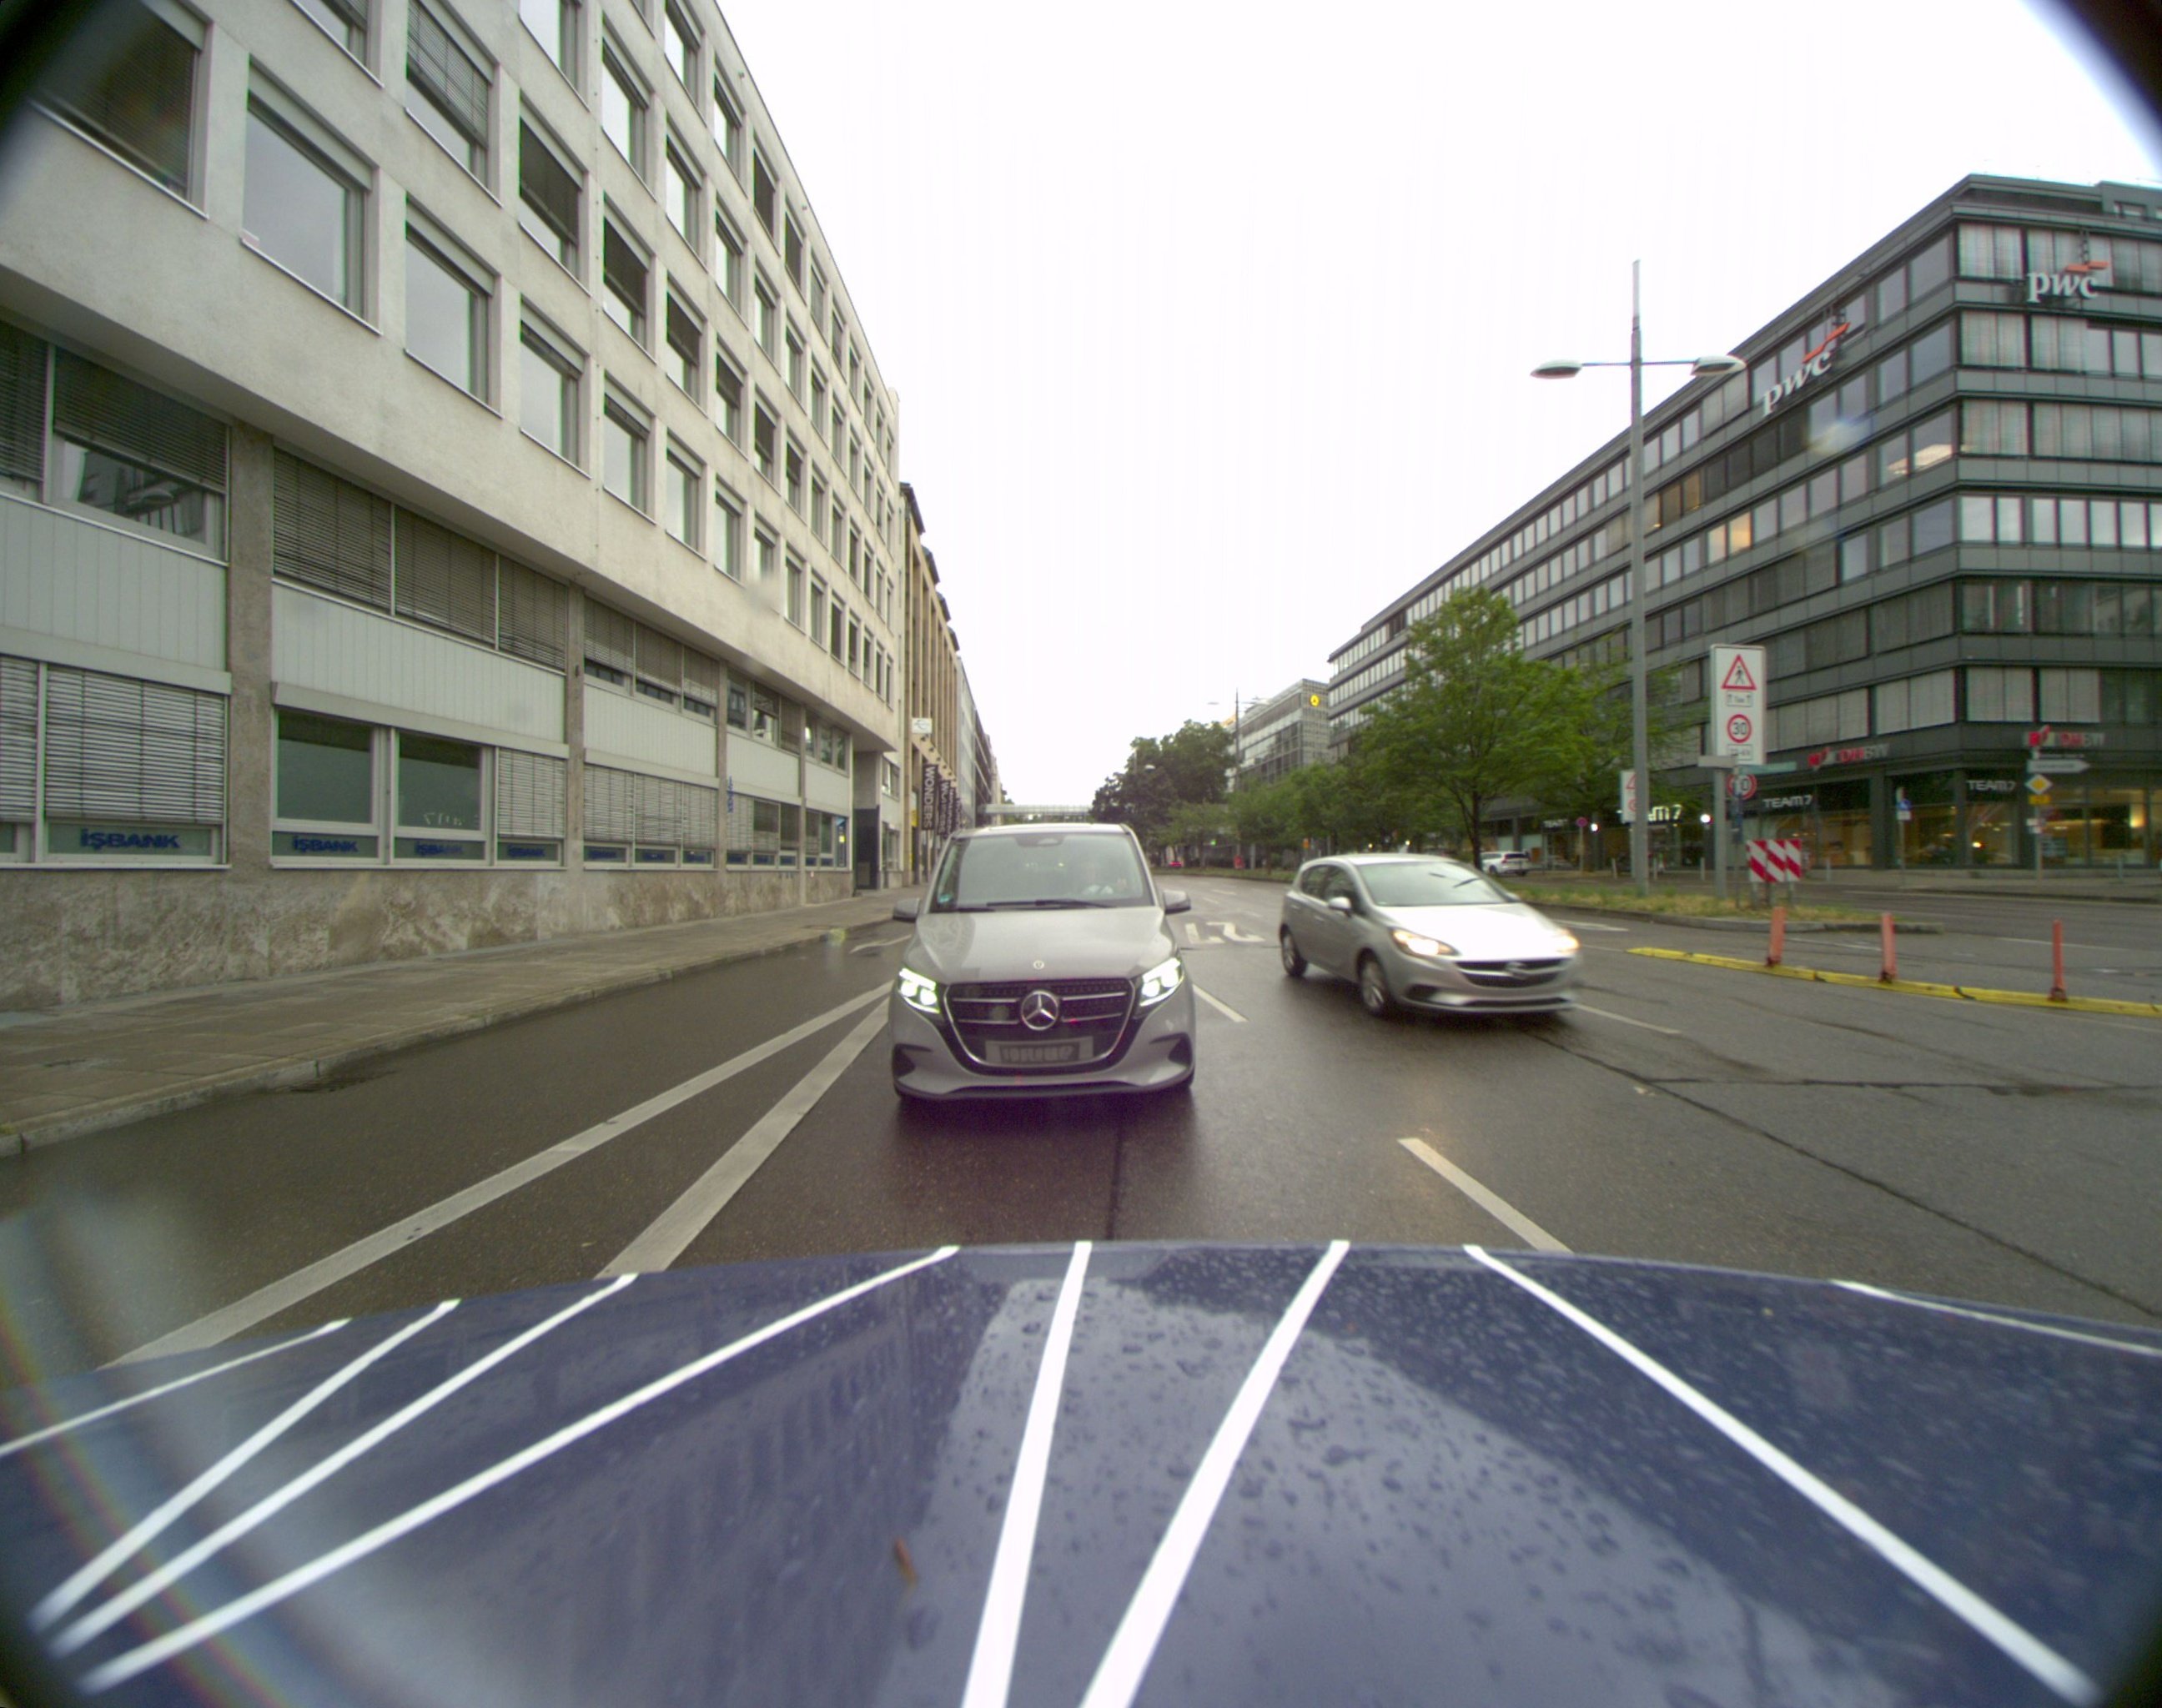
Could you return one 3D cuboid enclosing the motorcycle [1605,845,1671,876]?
[{"bbox_3d":[26.978,0.317,36.850,0.861,1.386,2.364,-5,2,-30],"label":"motorcycle"}]

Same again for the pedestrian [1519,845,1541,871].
[{"bbox_3d":[28.747,0.238,48.700,0.786,1.628,0.965,-1,0,-4],"label":"pedestrian"}]

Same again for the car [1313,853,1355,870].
[{"bbox_3d":[22.295,0.654,67.011,1.814,1.436,4.307,-2,0,-7],"label":"car"}]

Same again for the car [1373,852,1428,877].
[{"bbox_3d":[20.554,0.653,48.993,1.788,1.564,3.690,-1,0,-3],"label":"car"}]

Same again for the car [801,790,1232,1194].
[{"bbox_3d":[-0.408,0.712,6.434,2.163,2.014,5.040,-1,0,-2],"label":"car"}]

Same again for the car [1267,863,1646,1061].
[{"bbox_3d":[3.366,0.847,7.764,1.853,1.434,3.869,-1,0,-2],"label":"car"}]

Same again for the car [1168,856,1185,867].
[{"bbox_3d":[14.123,1.065,112.555,1.999,1.535,4.482,-1,0,-1],"label":"car"}]

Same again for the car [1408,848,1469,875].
[{"bbox_3d":[23.683,0.458,50.529,1.813,1.651,4.309,-2,0,-2],"label":"car"}]

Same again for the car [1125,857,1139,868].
[{"bbox_3d":[9.297,1.496,138.069,1.742,1.717,4.491,6,-1,-5],"label":"car"}]

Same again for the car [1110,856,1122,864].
[{"bbox_3d":[6.818,1.124,148.899,1.687,1.423,4.081,-1,0,-5],"label":"car"}]

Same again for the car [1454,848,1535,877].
[{"bbox_3d":[24.021,0.464,44.395,1.814,1.477,4.771,-4,0,-4],"label":"car"}]
